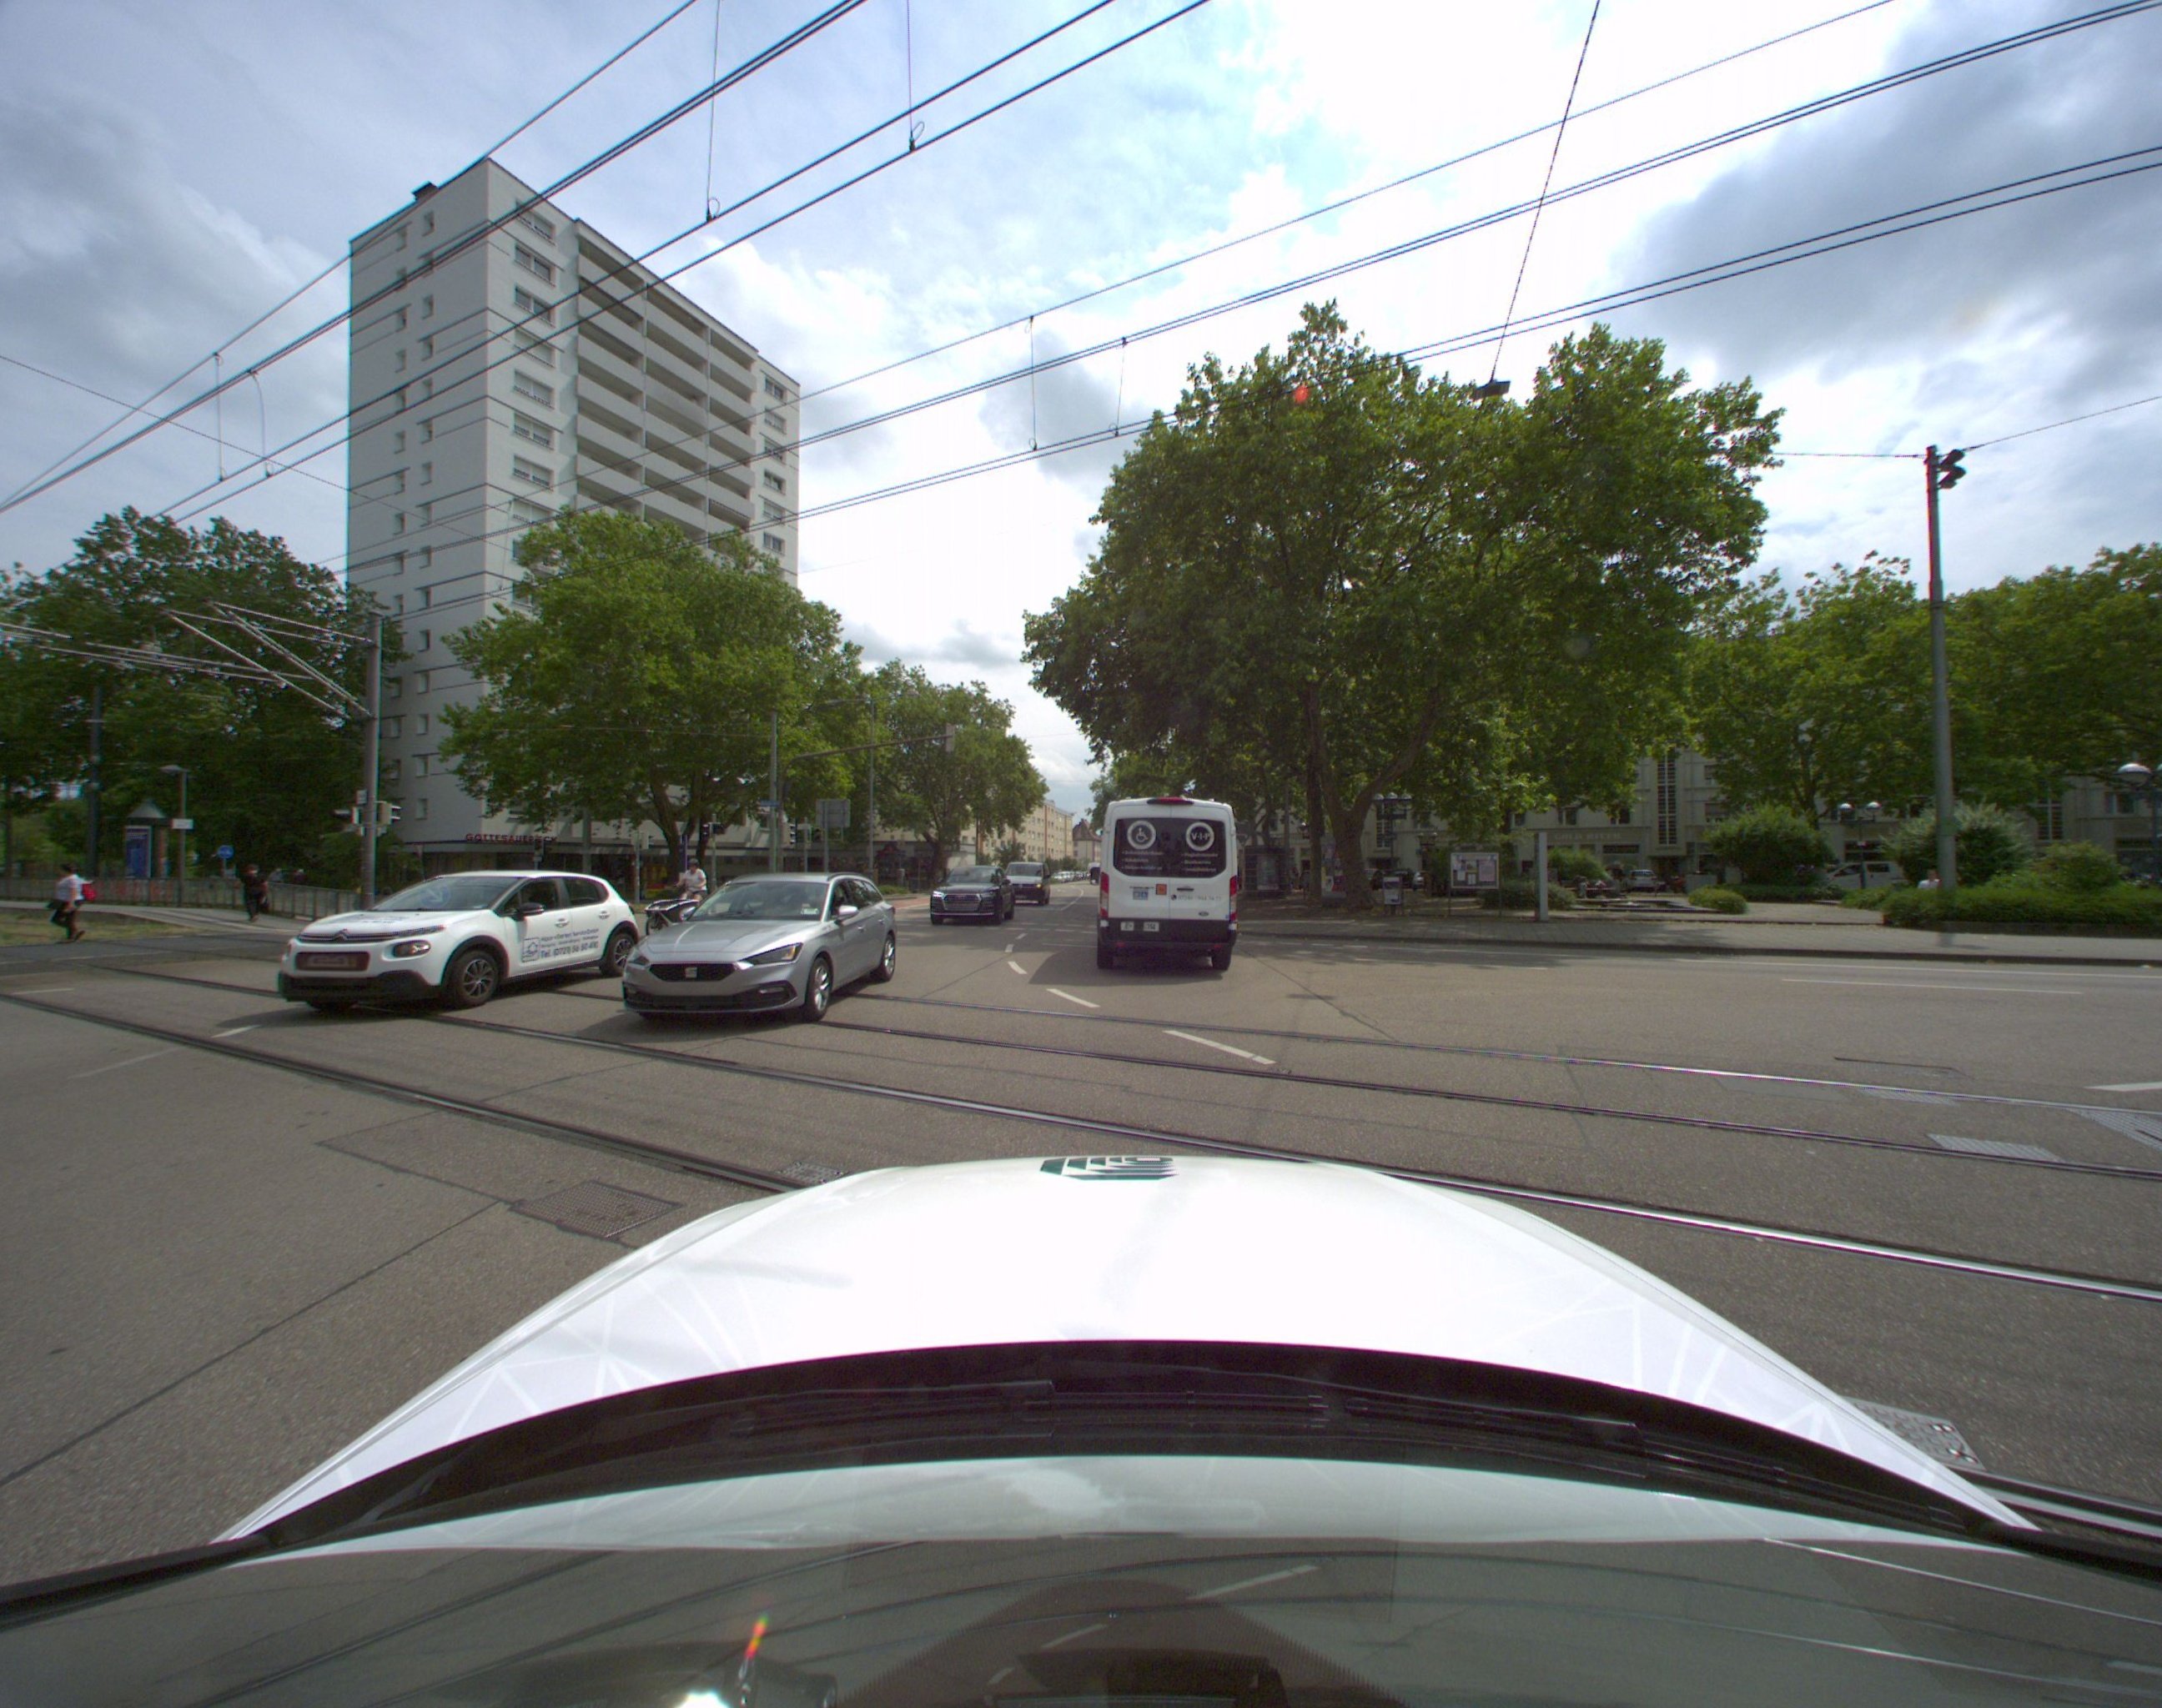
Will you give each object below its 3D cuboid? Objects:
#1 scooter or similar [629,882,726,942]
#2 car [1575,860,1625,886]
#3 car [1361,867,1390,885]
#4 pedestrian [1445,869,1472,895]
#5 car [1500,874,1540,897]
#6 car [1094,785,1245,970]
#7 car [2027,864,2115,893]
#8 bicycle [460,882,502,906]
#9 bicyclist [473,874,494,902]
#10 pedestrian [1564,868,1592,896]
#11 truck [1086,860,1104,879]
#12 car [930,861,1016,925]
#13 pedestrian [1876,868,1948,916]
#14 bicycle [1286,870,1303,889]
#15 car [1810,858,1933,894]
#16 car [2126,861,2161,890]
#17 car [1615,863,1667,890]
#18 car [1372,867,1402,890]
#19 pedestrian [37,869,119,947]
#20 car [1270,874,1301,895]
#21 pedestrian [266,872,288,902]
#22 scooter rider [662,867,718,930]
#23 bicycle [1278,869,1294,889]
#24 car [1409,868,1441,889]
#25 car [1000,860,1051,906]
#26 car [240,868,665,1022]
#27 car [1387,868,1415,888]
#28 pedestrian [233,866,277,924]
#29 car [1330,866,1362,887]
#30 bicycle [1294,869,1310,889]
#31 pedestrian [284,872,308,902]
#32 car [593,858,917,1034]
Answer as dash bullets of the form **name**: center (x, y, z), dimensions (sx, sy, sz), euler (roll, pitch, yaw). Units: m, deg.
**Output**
- **scooter or similar**: center (-8.805, 1.232, 17.936), dimensions (0.736, 1.138, 2.689), euler (0, 0, 1)
- **car**: center (34.170, 1.269, 53.776), dimensions (1.976, 1.618, 4.226), euler (-1, -1, 21)
- **car**: center (25.085, 1.824, 69.327), dimensions (1.976, 1.488, 4.218), euler (-1, -1, 24)
- **pedestrian**: center (17.766, 1.302, 38.323), dimensions (1.085, 1.213, 1.147), euler (-1, -2, 26)
- **car**: center (30.153, 2.135, 56.039), dimensions (1.976, 1.464, 4.020), euler (-1, -1, 21)
- **car**: center (1.355, 0.402, 13.534), dimensions (2.061, 2.541, 4.638), euler (0, -2, 3)
- **car**: center (54.110, 1.314, 44.614), dimensions (1.974, 1.483, 4.126), euler (-1, -1, 35)
- **bicycle**: center (-29.001, 1.927, 39.381), dimensions (1.948, 1.094, 0.630), euler (-3, -1, 19)
- **bicyclist**: center (-28.857, 1.651, 39.329), dimensions (0.744, 1.342, 0.494), euler (-2, -1, 19)
- **pedestrian**: center (22.046, 1.231, 36.157), dimensions (0.878, 1.200, 1.130), euler (0, -1, 22)
- **truck**: center (2.460, 2.699, 143.748), dimensions (2.529, 3.108, 7.030), euler (-2, -1, 6)
- **car**: center (-2.984, 1.037, 23.456), dimensions (1.816, 1.647, 4.428), euler (1, -1, 1)
- **pedestrian**: center (23.600, 1.064, 23.152), dimensions (1.164, 1.318, 0.872), euler (0, -1, 23)
- **bicycle**: center (15.089, 1.795, 57.562), dimensions (0.415, 1.378, 2.326), euler (-1, -2, 33)
- **car**: center (42.249, 1.172, 43.675), dimensions (4.279, 1.816, 2.011), euler (-1, -1, 25)
- **car**: center (56.933, 1.119, 42.356), dimensions (1.974, 1.483, 4.126), euler (-1, -1, 35)
- **car**: center (36.323, 1.446, 52.908), dimensions (1.976, 1.640, 4.021), euler (-1, -1, 22)
- **car**: center (22.309, 1.755, 59.338), dimensions (1.976, 1.599, 4.020), euler (-1, -1, 21)
- **pedestrian**: center (-20.720, 1.094, 16.832), dimensions (0.829, 1.552, 0.873), euler (0, -1, 24)
- **car**: center (15.904, 2.317, 63.246), dimensions (1.811, 1.552, 4.020), euler (-1, -1, 21)
- **pedestrian**: center (-43.862, 1.813, 44.435), dimensions (0.500, 1.623, 0.700), euler (-1, -1, 22)
- **scooter rider**: center (-8.790, 0.981, 18.349), dimensions (0.736, 1.376, 1.087), euler (0, -1, 1)
- **bicycle**: center (14.578, 1.749, 57.901), dimensions (0.415, 1.378, 2.326), euler (-1, -1, 33)
- **car**: center (24.655, 1.749, 58.490), dimensions (1.976, 1.464, 4.020), euler (-1, -1, 21)
- **car**: center (-2.455, 1.271, 37.376), dimensions (1.917, 1.936, 4.947), euler (1, -1, 1)
- **car**: center (-7.214, 0.920, 10.045), dimensions (1.727, 1.431, 4.246), euler (0, 0, 4)
- **car**: center (26.739, 1.993, 67.947), dimensions (1.976, 1.591, 4.218), euler (-1, -1, 24)
- **pedestrian**: center (-22.616, 1.110, 22.297), dimensions (0.591, 1.552, 0.674), euler (-1, -1, 25)
- **car**: center (19.585, 1.666, 60.082), dimensions (1.976, 1.464, 4.020), euler (-1, -1, 21)
- **bicycle**: center (15.527, 1.746, 57.233), dimensions (0.415, 1.378, 2.326), euler (-1, -1, 33)
- **pedestrian**: center (-42.967, 1.810, 44.586), dimensions (0.676, 1.636, 0.700), euler (-1, -1, 22)
- **car**: center (-3.355, 0.836, 9.581), dimensions (1.756, 1.524, 4.848), euler (-1, -1, 1)
